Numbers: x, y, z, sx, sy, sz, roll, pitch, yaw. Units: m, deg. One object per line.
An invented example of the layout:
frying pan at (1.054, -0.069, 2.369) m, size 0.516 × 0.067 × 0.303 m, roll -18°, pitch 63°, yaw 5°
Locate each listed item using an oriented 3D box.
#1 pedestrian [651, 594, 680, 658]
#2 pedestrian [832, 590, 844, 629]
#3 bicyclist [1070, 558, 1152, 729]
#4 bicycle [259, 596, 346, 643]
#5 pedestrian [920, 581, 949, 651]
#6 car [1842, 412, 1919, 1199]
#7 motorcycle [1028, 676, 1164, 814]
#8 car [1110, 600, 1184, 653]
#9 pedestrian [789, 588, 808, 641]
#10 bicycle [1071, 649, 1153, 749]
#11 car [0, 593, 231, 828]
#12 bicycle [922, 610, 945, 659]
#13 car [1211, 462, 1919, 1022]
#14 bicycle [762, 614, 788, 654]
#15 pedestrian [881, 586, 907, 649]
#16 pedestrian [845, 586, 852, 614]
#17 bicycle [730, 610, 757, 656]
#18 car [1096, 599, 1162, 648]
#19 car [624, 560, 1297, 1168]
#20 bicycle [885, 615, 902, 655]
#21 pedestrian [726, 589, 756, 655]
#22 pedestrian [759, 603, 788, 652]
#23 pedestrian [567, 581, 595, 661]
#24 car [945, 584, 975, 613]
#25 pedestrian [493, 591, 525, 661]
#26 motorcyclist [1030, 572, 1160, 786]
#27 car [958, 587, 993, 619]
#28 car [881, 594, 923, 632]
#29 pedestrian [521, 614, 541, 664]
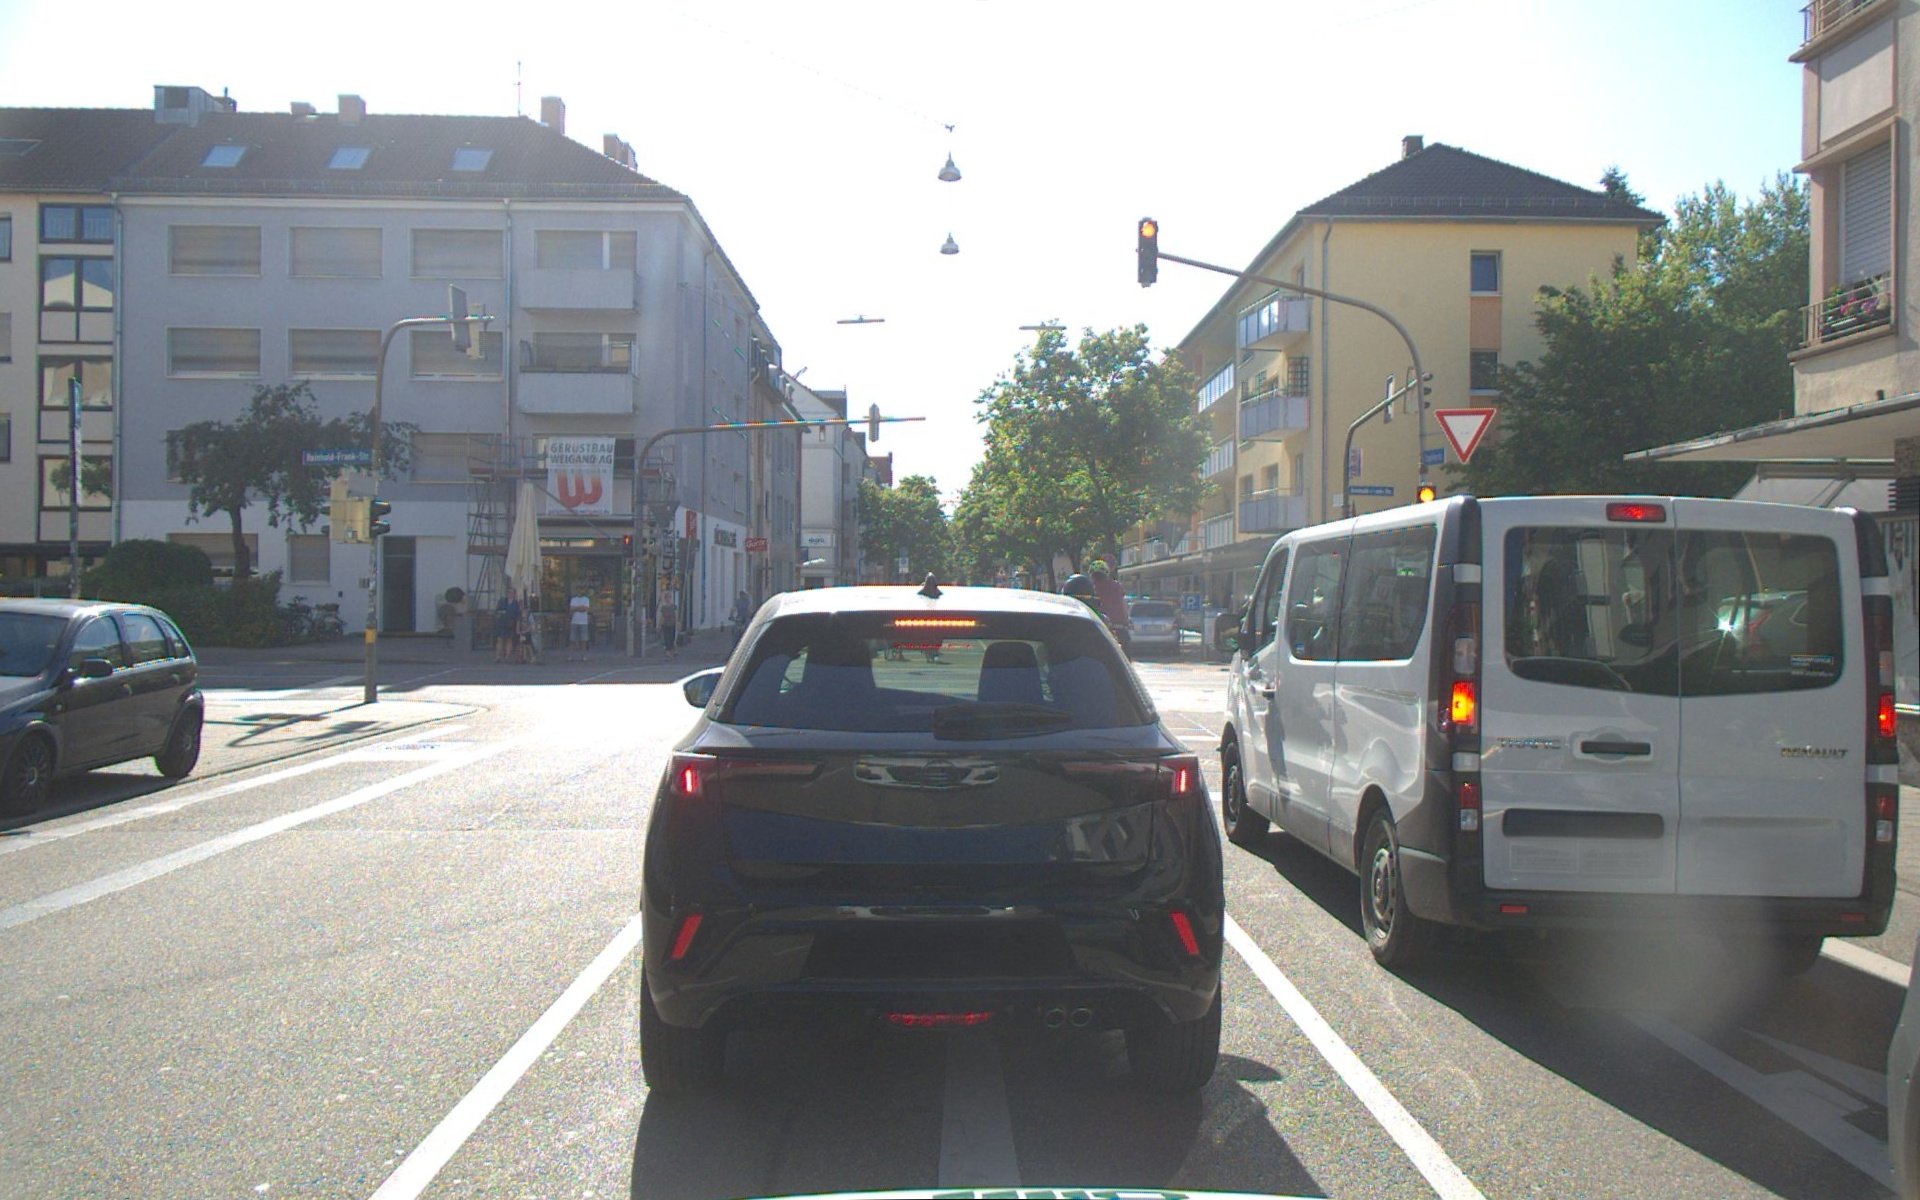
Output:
pedestrian at (-7.081, 0.619, 39.829) m, size 0.605 × 1.547 × 0.724 m, roll 0°, pitch 0°, yaw -4°
pedestrian at (-5.319, 0.410, 71.901) m, size 0.478 × 1.719 × 0.588 m, roll 0°, pitch 0°, yaw -1°
bicyclist at (1.588, 0.439, 17.599) m, size 0.675 × 1.742 × 1.413 m, roll 0°, pitch 0°, yaw -3°
bicycle at (-16.859, 0.487, 42.423) m, size 2.067 × 1.193 × 0.735 m, roll 0°, pitch 0°, yaw -25°
pedestrian at (-0.635, 0.402, 41.446) m, size 0.692 × 1.731 × 0.802 m, roll 0°, pitch 0°, yaw -3°
car at (3.003, 0.581, 1.221) m, size 1.800 × 1.901 × 4.992 m, roll 0°, pitch 0°, yaw -4°
motorcycle at (0.974, 1.039, 12.292) m, size 0.808 × 0.860 × 1.884 m, roll 0°, pitch 0°, yaw -1°
car at (5.309, 0.726, 47.296) m, size 1.601 × 1.458 × 3.956 m, roll 0°, pitch 0°, yaw -1°
pedestrian at (-5.272, 0.469, 54.052) m, size 0.558 × 1.719 × 0.588 m, roll 0°, pitch 0°, yaw -1°
bicycle at (1.590, 1.018, 17.637) m, size 0.565 × 0.920 × 2.300 m, roll 0°, pitch 0°, yaw -3°
car at (-7.062, 0.717, 12.365) m, size 1.584 × 1.450 × 3.709 m, roll 3°, pitch 0°, yaw -1°
bicycle at (-0.668, 0.856, 41.502) m, size 0.511 × 1.167 × 2.169 m, roll 0°, pitch 0°, yaw -3°
car at (2.726, 0.522, 8.537) m, size 1.953 × 2.014 × 4.894 m, roll 2°, pitch 0°, yaw -2°
bicycle at (-4.897, 0.896, 43.824) m, size 0.511 × 1.010 × 2.338 m, roll 0°, pitch 0°, yaw -3°
pedestrian at (-1.748, 0.462, 43.714) m, size 0.666 × 1.634 × 0.762 m, roll 0°, pitch 0°, yaw -3°
pedestrian at (-6.797, 0.009, 100.631) m, size 0.394 × 1.704 × 0.417 m, roll 0°, pitch 0°, yaw -1°
bicycle at (-5.719, 0.851, 43.822) m, size 0.511 × 1.167 × 2.282 m, roll 0°, pitch 0°, yaw -3°
car at (5.281, 0.702, 52.001) m, size 1.601 × 1.458 × 3.999 m, roll 0°, pitch 0°, yaw -1°
car at (-0.078, 0.675, 6.285) m, size 1.735 × 1.557 × 3.998 m, roll 0°, pitch 0°, yaw -3°
bicycle at (-1.757, 0.911, 43.757) m, size 0.434 × 1.010 × 2.068 m, roll 0°, pitch 0°, yaw -3°
pedestrian at (-5.768, 0.567, 43.564) m, size 0.692 × 1.707 × 0.802 m, roll 0°, pitch 0°, yaw -3°
pedestrian at (-4.902, 0.719, 43.482) m, size 0.692 × 1.275 × 0.802 m, roll 0°, pitch 0°, yaw -3°
pedestrian at (-8.668, 0.468, 37.839) m, size 0.550 × 1.806 × 0.582 m, roll 1°, pitch 0°, yaw -9°
car at (-0.005, -0.095, 103.961) m, size 1.863 × 1.758 × 4.000 m, roll 0°, pitch 0°, yaw 0°
pedestrian at (-10.146, 0.583, 37.235) m, size 0.573 × 1.547 × 0.649 m, roll 0°, pitch 0°, yaw -4°
motorcyclist at (0.991, 0.566, 12.404) m, size 0.846 × 1.528 × 1.159 m, roll 0°, pitch 0°, yaw -2°
car at (0.843, 0.145, 92.873) m, size 1.863 × 1.758 × 4.073 m, roll 0°, pitch 0°, yaw 0°
car at (-2.732, 0.599, 78.945) m, size 1.787 × 1.758 × 4.000 m, roll 0°, pitch 0°, yaw 1°
pedestrian at (-9.680, 0.869, 37.308) m, size 0.348 × 1.111 × 0.461 m, roll 0°, pitch 0°, yaw -4°
